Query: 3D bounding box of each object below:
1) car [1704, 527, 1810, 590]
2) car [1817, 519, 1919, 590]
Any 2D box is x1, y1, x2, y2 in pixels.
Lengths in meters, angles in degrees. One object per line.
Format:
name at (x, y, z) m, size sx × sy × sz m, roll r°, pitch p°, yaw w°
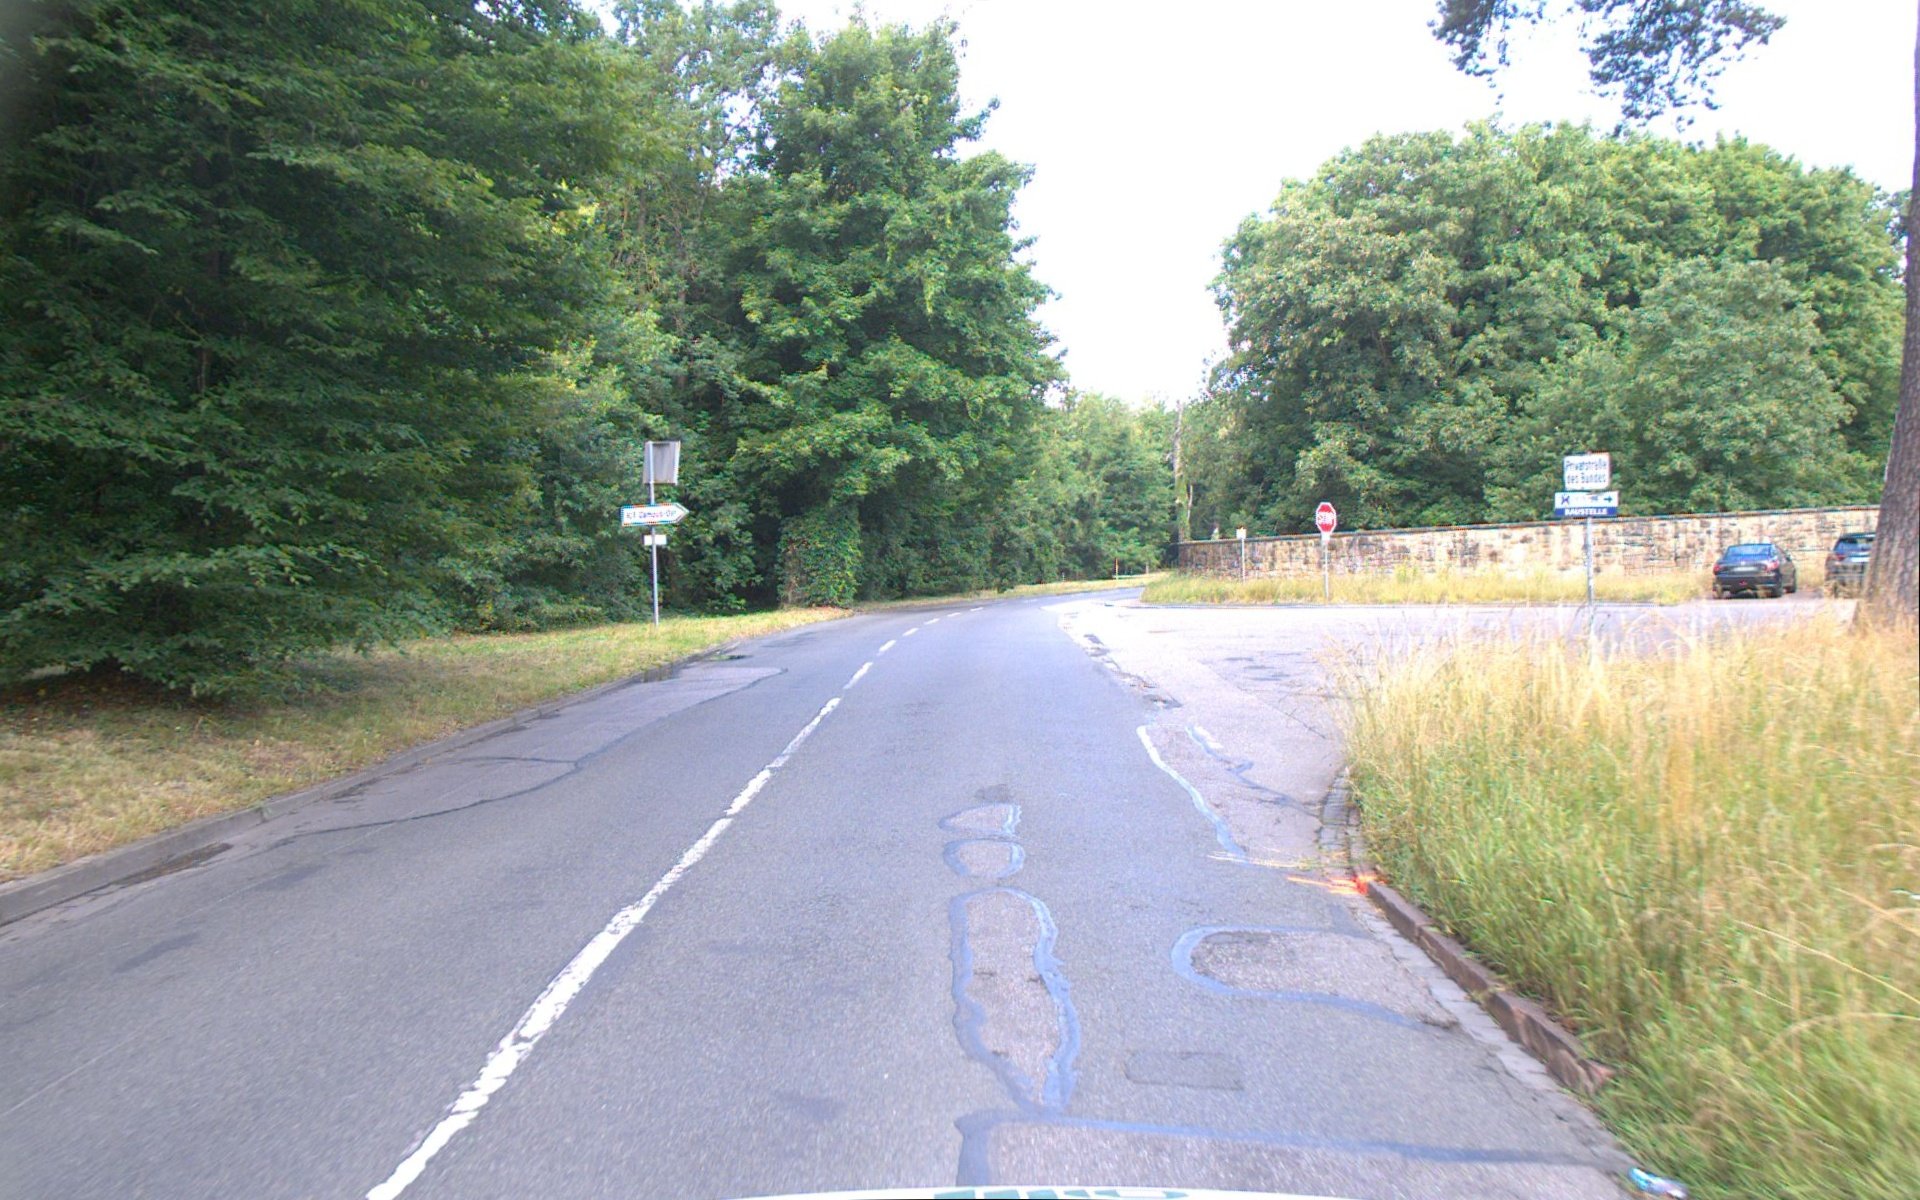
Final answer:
car at (21.278, -1.129, 44.076) m, size 1.842 × 1.466 × 3.986 m, roll -2°, pitch 3°, yaw 36°
car at (23.235, -1.178, 42.206) m, size 1.862 × 1.573 × 3.987 m, roll -2°, pitch 3°, yaw 36°
